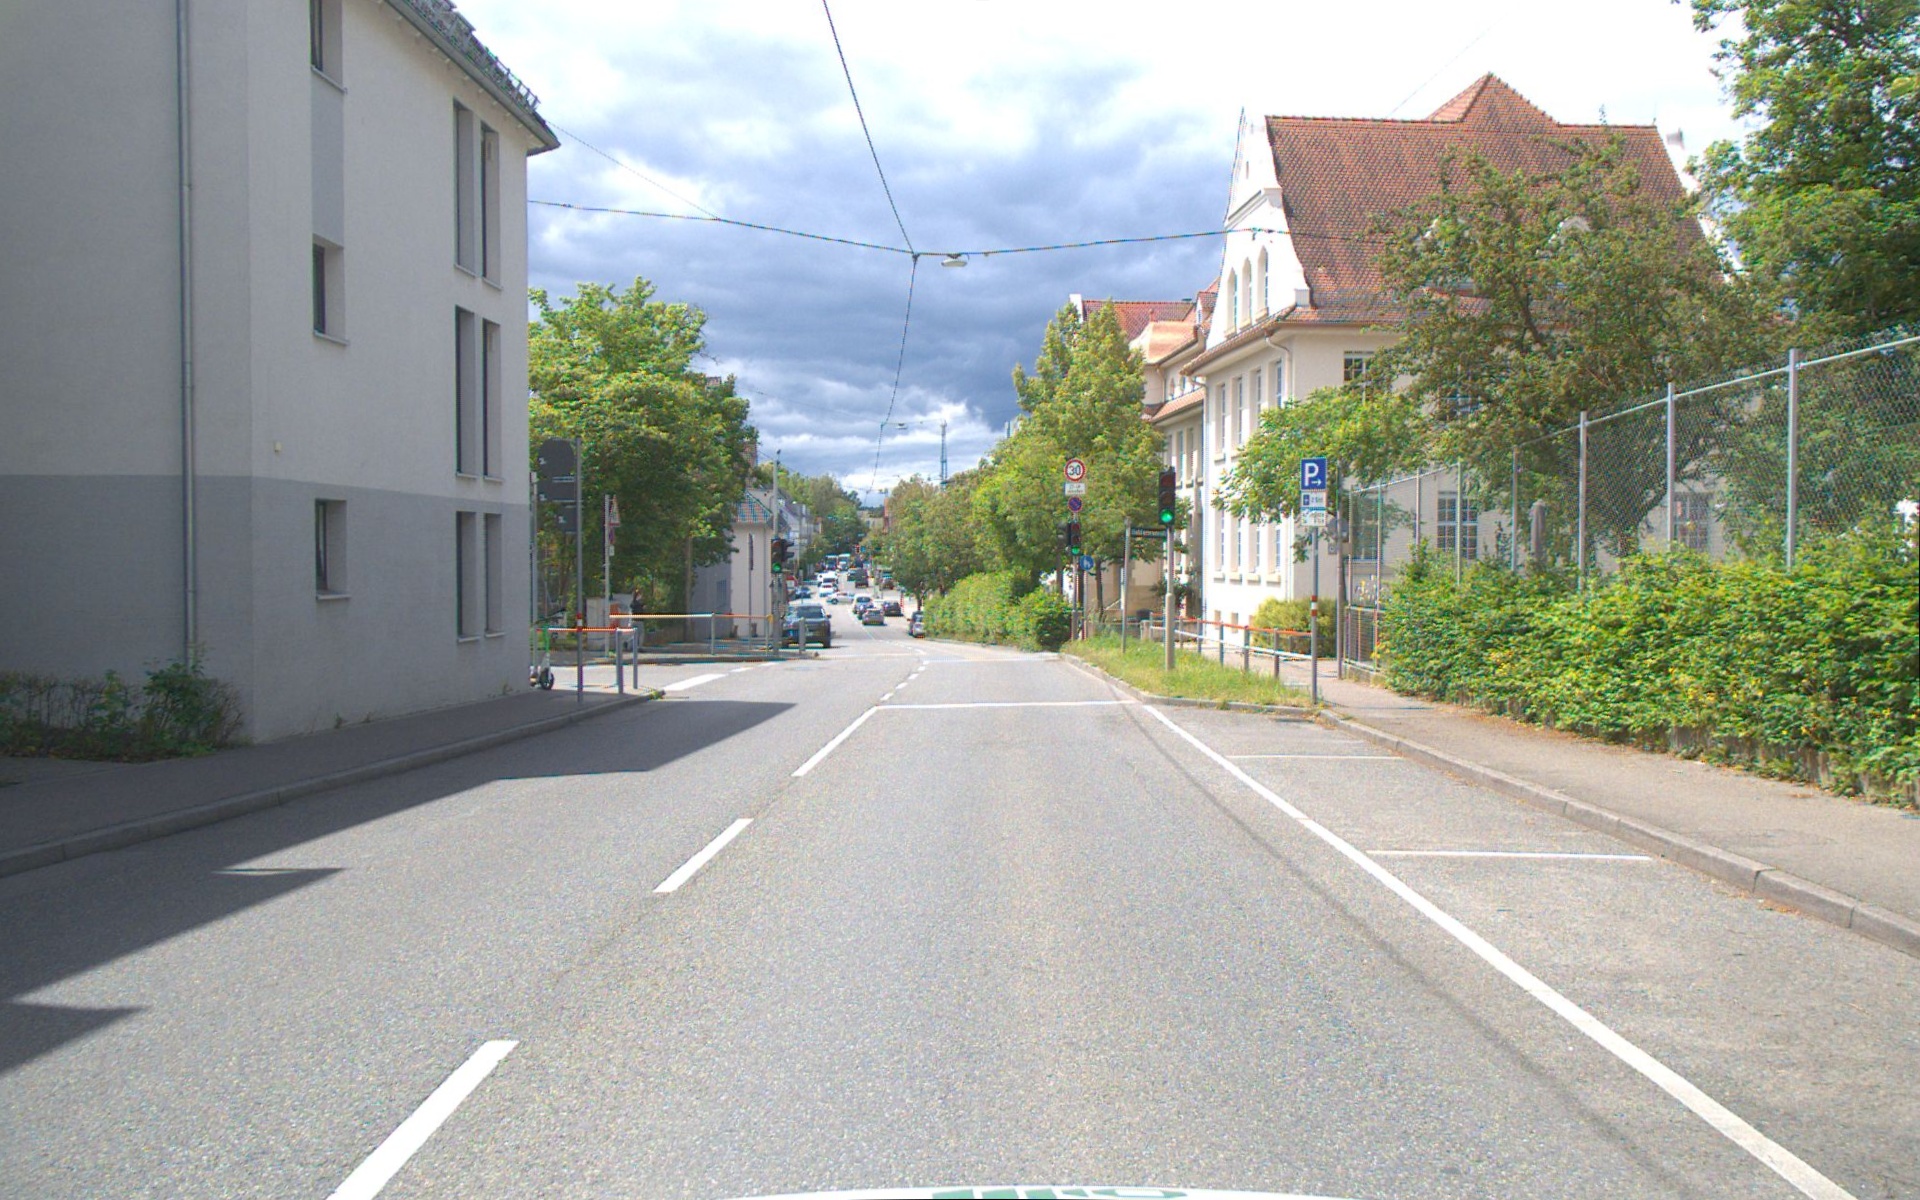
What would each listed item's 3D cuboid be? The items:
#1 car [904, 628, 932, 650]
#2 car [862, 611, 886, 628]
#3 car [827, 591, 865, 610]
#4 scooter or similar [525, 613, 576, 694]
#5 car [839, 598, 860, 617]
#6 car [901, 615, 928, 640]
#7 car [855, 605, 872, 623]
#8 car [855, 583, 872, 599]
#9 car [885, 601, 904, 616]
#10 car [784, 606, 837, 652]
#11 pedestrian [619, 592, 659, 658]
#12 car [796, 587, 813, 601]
[{"bbox_3d":[-3.028,2.794,118.378,1.751,1.536,4.360,0,-1,-4],"label":"car"},{"bbox_3d":[-7.728,1.731,148.878,1.712,1.441,3.990,0,0,-10],"label":"car"},{"bbox_3d":[-12.696,0.067,184.012,3.918,2.049,1.994,1,-1,-13],"label":"car"},{"bbox_3d":[-6.723,0.859,27.130,0.484,1.283,1.295,-1,0,-29],"label":"scooter or similar"},{"bbox_3d":[-11.217,0.761,168.021,1.803,1.894,3.842,0,0,-9],"label":"car"},{"bbox_3d":[-3.439,2.040,124.128,1.808,1.799,4.510,0,-1,-4],"label":"car"},{"bbox_3d":[-9.227,1.345,158.351,1.250,1.553,3.044,-1,3,-10],"label":"car"},{"bbox_3d":[-14.515,-1.374,248.543,2.389,2.359,5.321,0,0,-5],"label":"car"},{"bbox_3d":[-6.569,0.830,164.693,1.718,1.395,3.996,0,0,-5],"label":"car"},{"bbox_3d":[-5.543,1.046,61.696,1.759,1.638,4.643,0,0,-3],"label":"car"},{"bbox_3d":[-8.005,0.612,41.223,0.763,1.625,0.664,1,0,-34],"label":"pedestrian"},{"bbox_3d":[-19.178,-0.752,204.704,1.835,1.668,3.998,1,0,-2],"label":"car"}]
